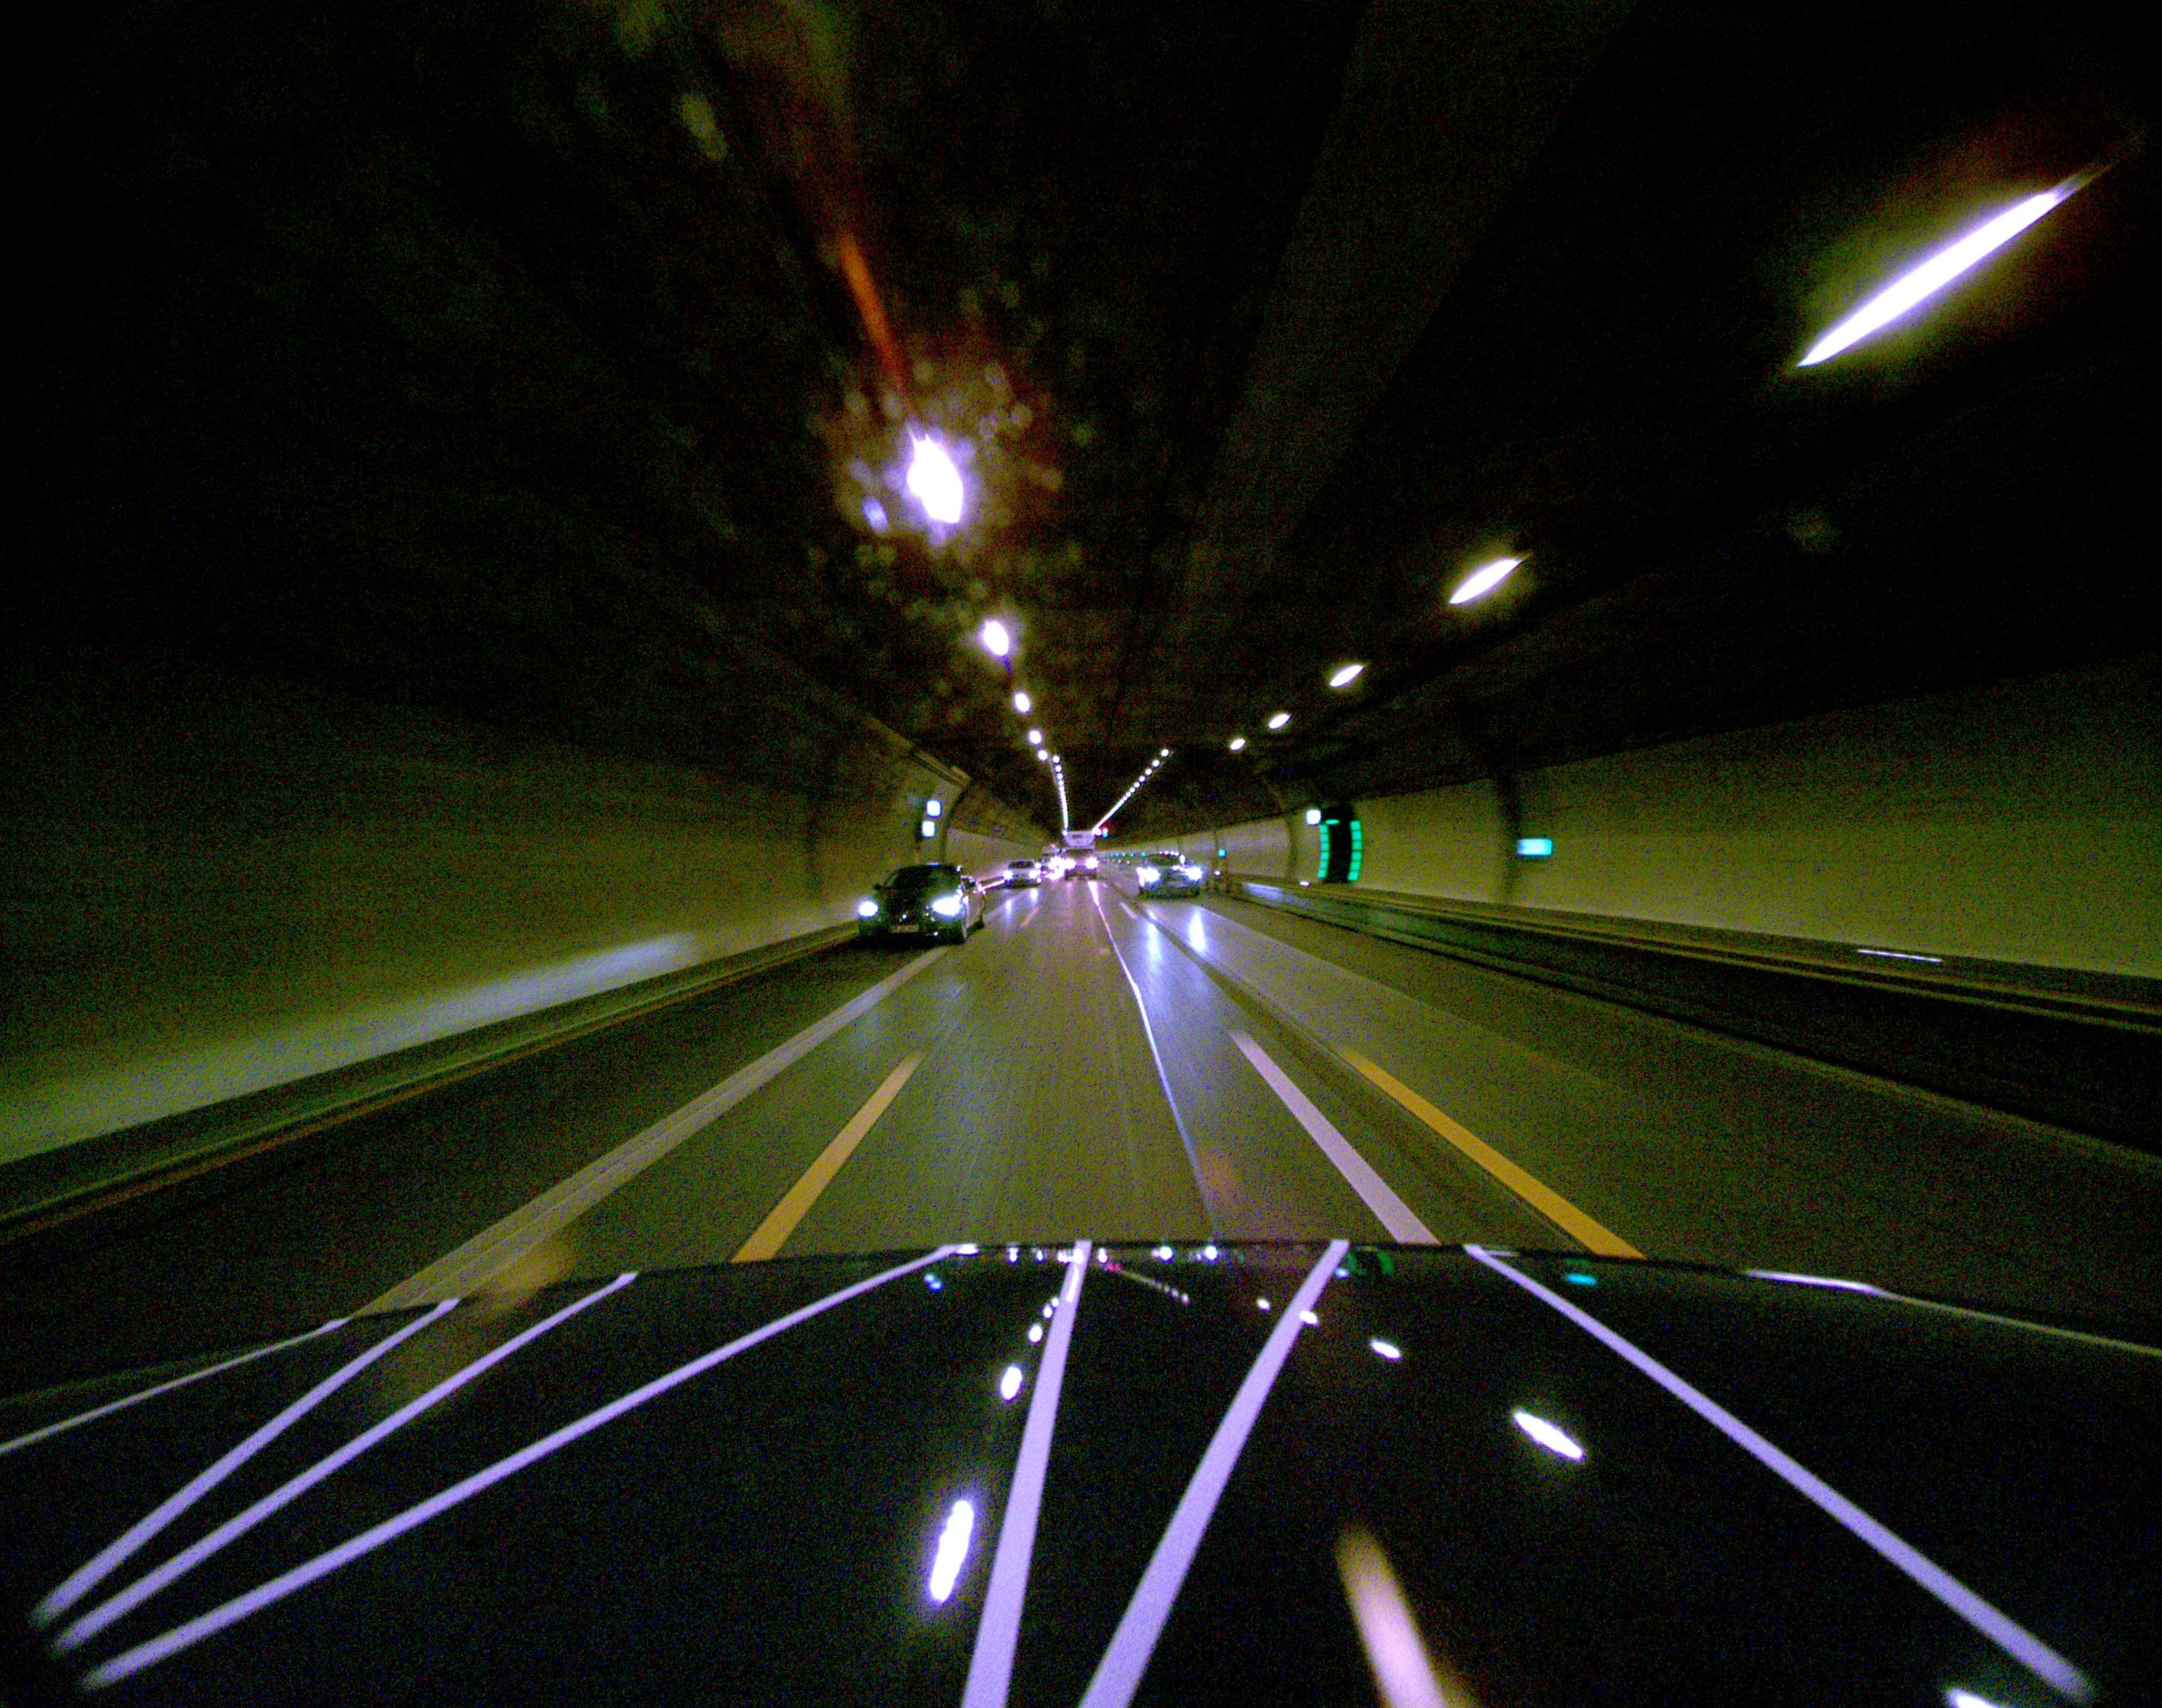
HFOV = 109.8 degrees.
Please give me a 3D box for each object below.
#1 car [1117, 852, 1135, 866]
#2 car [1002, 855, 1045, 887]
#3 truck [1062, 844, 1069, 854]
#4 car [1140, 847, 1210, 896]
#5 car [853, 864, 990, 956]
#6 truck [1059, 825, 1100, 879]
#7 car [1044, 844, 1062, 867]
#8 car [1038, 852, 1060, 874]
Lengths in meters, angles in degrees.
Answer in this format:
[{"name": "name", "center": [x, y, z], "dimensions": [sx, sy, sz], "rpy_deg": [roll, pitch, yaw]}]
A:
[{"name": "car", "center": [5.282, 0.544, 89.003], "dimensions": [1.998, 1.531, 4.851], "rpy_deg": [-2, 1, 3]}, {"name": "car", "center": [-3.032, 0.890, 41.153], "dimensions": [1.999, 1.531, 4.741], "rpy_deg": [-2, 1, -1]}, {"name": "truck", "center": [-5.290, -1.623, 261.349], "dimensions": [2.208, 3.449, 11.763], "rpy_deg": [-1, 0, -1]}, {"name": "car", "center": [3.281, 0.558, 27.288], "dimensions": [1.998, 1.531, 4.742], "rpy_deg": [-2, 1, 1]}, {"name": "car", "center": [-3.018, 0.999, 15.368], "dimensions": [1.826, 1.469, 4.521], "rpy_deg": [-2, 0, -1]}, {"name": "truck", "center": [-0.123, -0.120, 51.518], "dimensions": [2.533, 3.314, 7.715], "rpy_deg": [-1, 0, -1]}, {"name": "car", "center": [-3.516, 0.190, 95.027], "dimensions": [1.999, 2.710, 6.273], "rpy_deg": [-2, 1, -1]}, {"name": "car", "center": [-3.023, 0.831, 72.170], "dimensions": [1.999, 2.002, 4.853], "rpy_deg": [-1, 0, -2]}]
